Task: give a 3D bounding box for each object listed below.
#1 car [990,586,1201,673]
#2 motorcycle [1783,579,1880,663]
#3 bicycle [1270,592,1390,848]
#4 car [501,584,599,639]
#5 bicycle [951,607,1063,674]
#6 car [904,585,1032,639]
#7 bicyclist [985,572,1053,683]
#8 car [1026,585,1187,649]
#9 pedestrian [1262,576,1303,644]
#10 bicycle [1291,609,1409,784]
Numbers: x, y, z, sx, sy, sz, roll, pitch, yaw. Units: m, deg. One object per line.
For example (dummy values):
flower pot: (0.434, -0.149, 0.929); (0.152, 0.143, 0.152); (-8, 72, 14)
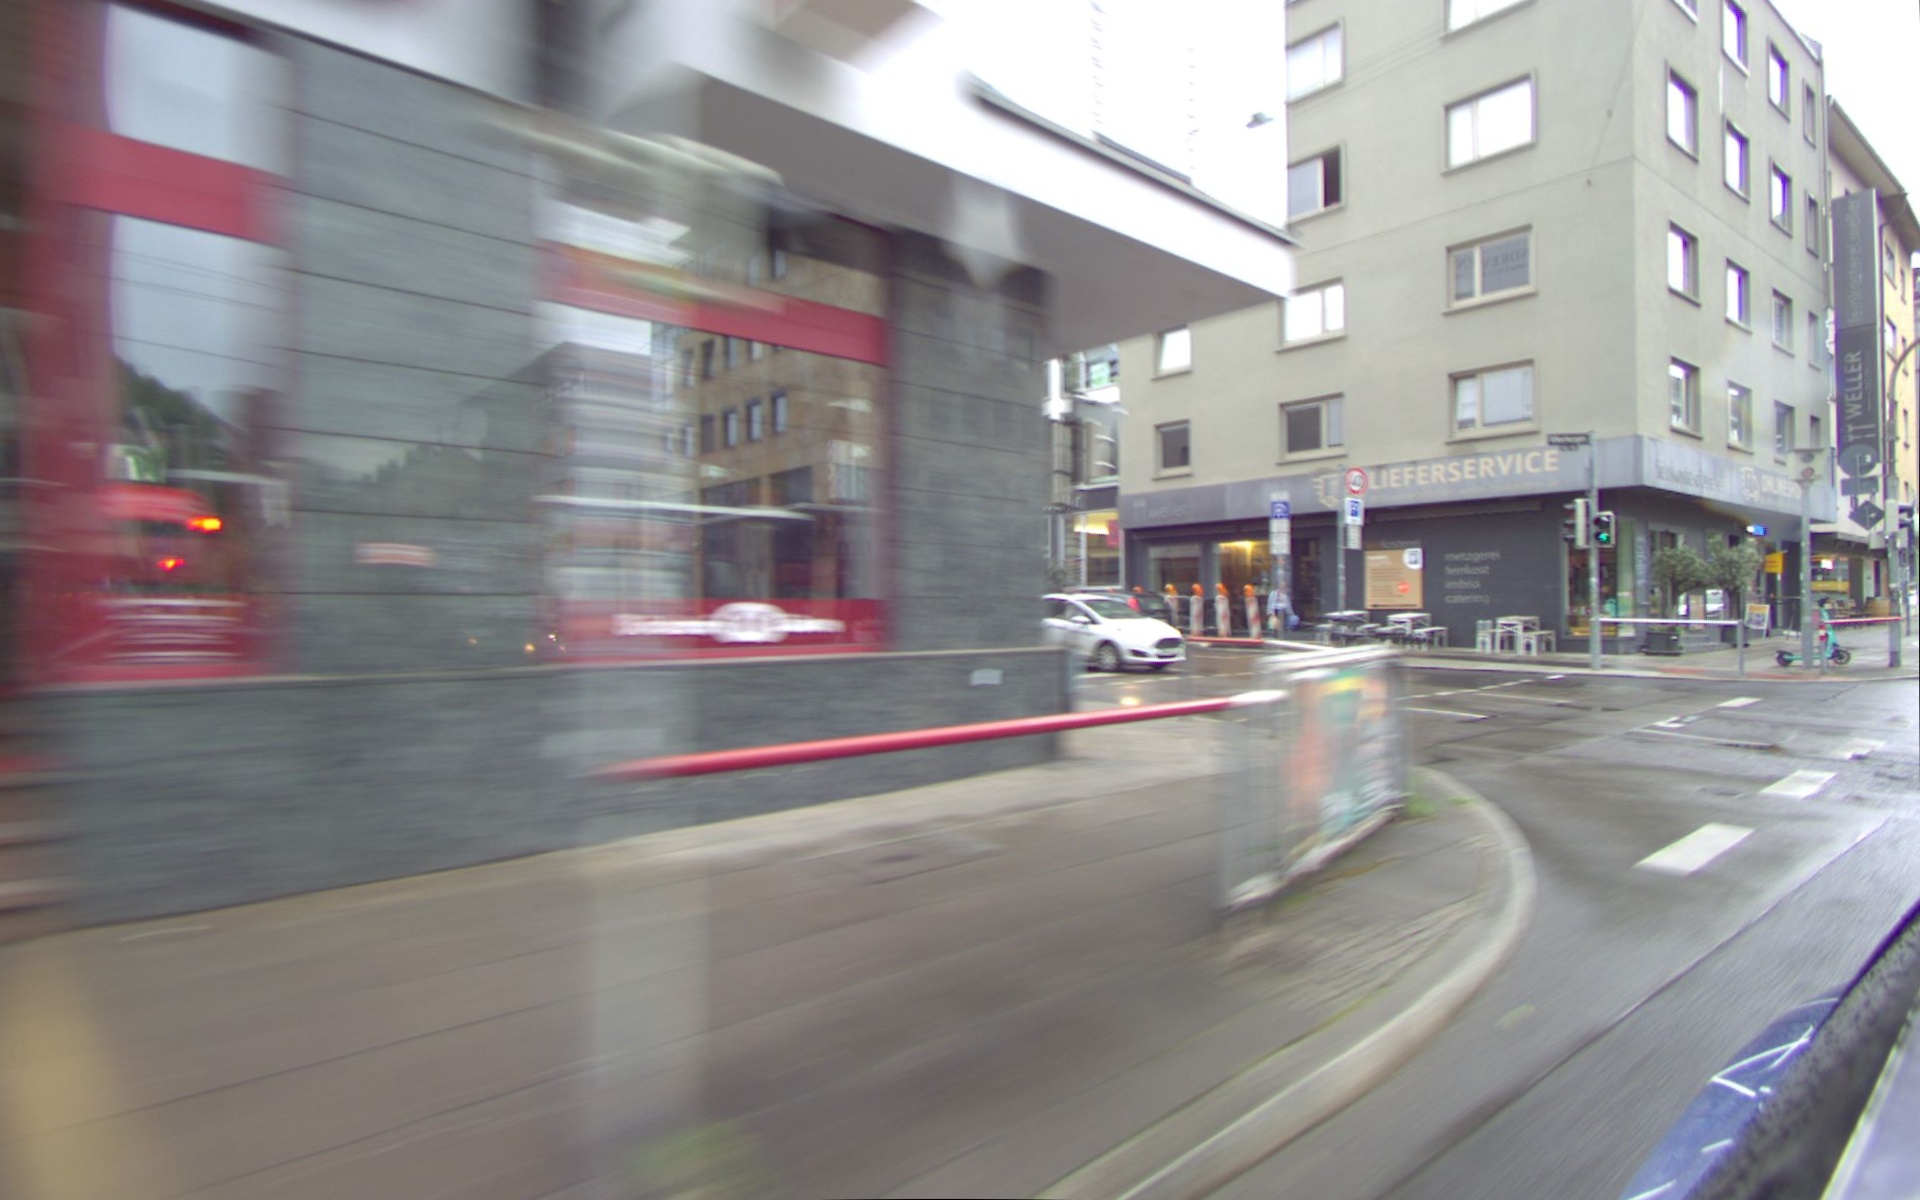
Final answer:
car: (2.552, 0.512, 19.805); (1.693, 1.505, 3.972); (-1, 1, -41)
motorcycle: (15.674, 0.365, 18.226); (1.115, 1.479, 0.681); (-1, 0, 14)
bicycle: (2.263, 0.599, 6.067); (0.493, 1.275, 1.940); (-2, 0, 25)
car: (-13.455, 0.334, 33.076); (1.747, 1.661, 4.084); (-1, 1, -41)
bicycle: (0.759, 0.644, 16.979); (0.743, 1.023, 1.928); (-1, 1, -42)
car: (0.191, 0.326, 30.729); (1.693, 1.505, 3.972); (-1, 1, -41)
bicyclist: (0.973, 0.434, 16.720); (0.744, 1.768, 0.841); (-1, 0, -42)
car: (3.708, 0.402, 26.146); (1.693, 1.505, 3.972); (-1, 1, -41)
pedestrian: (7.963, 0.233, 24.980); (0.845, 1.629, 0.549); (-3, 2, -37)
bicycle: (3.026, 0.680, 8.003); (0.569, 1.172, 1.948); (-1, 0, 13)
